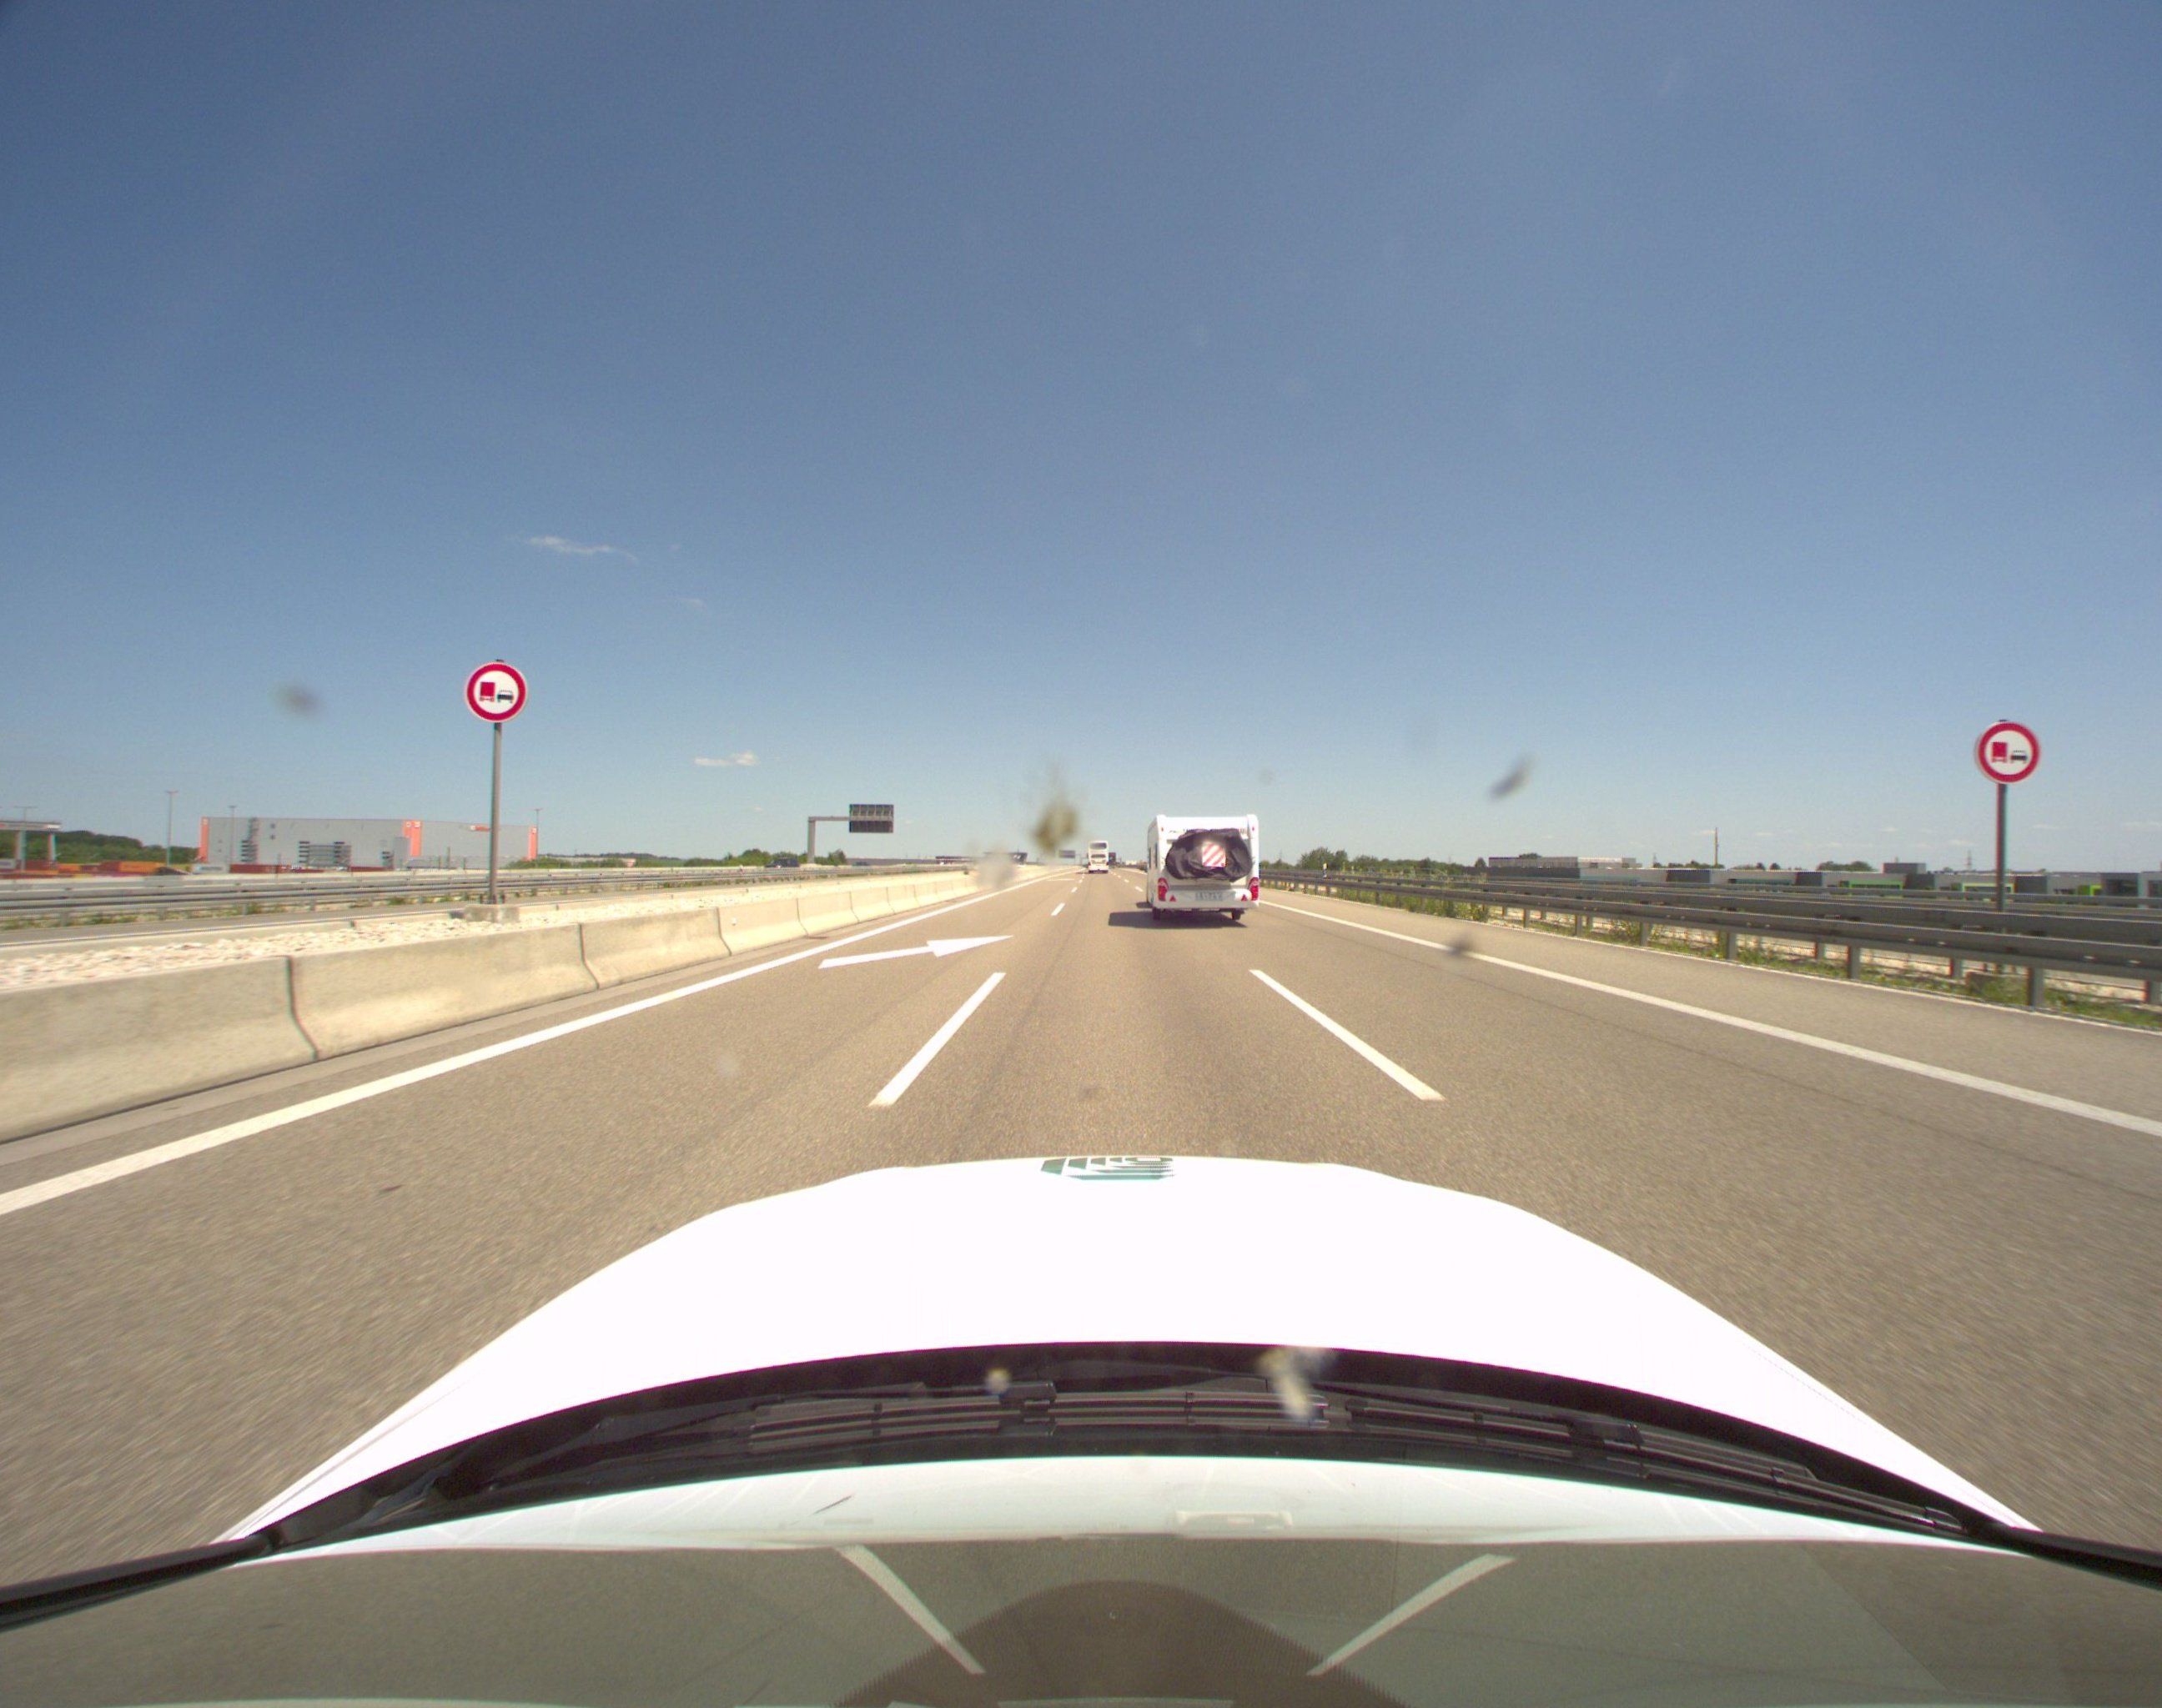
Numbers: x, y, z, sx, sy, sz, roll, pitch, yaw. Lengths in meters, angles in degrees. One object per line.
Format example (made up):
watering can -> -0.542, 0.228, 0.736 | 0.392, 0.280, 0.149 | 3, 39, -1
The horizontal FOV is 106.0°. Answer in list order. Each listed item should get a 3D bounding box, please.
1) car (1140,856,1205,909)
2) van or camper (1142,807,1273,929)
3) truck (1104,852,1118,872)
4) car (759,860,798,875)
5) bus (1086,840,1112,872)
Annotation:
car -> 2.999, 0.887, 27.606 | 1.873, 1.623, 4.907 | 0, 0, 3
van or camper -> 2.993, 0.328, 21.275 | 2.502, 2.593, 7.821 | 0, 0, 2
truck -> 7.794, 2.089, 210.451 | 3.366, 4.465, 13.570 | 0, -3, 2
car -> -29.232, 1.300, 78.800 | 1.985, 1.379, 4.366 | 0, 0, 3
bus -> 2.250, 0.300, 104.601 | 2.971, 3.975, 9.102 | 0, 0, 0
